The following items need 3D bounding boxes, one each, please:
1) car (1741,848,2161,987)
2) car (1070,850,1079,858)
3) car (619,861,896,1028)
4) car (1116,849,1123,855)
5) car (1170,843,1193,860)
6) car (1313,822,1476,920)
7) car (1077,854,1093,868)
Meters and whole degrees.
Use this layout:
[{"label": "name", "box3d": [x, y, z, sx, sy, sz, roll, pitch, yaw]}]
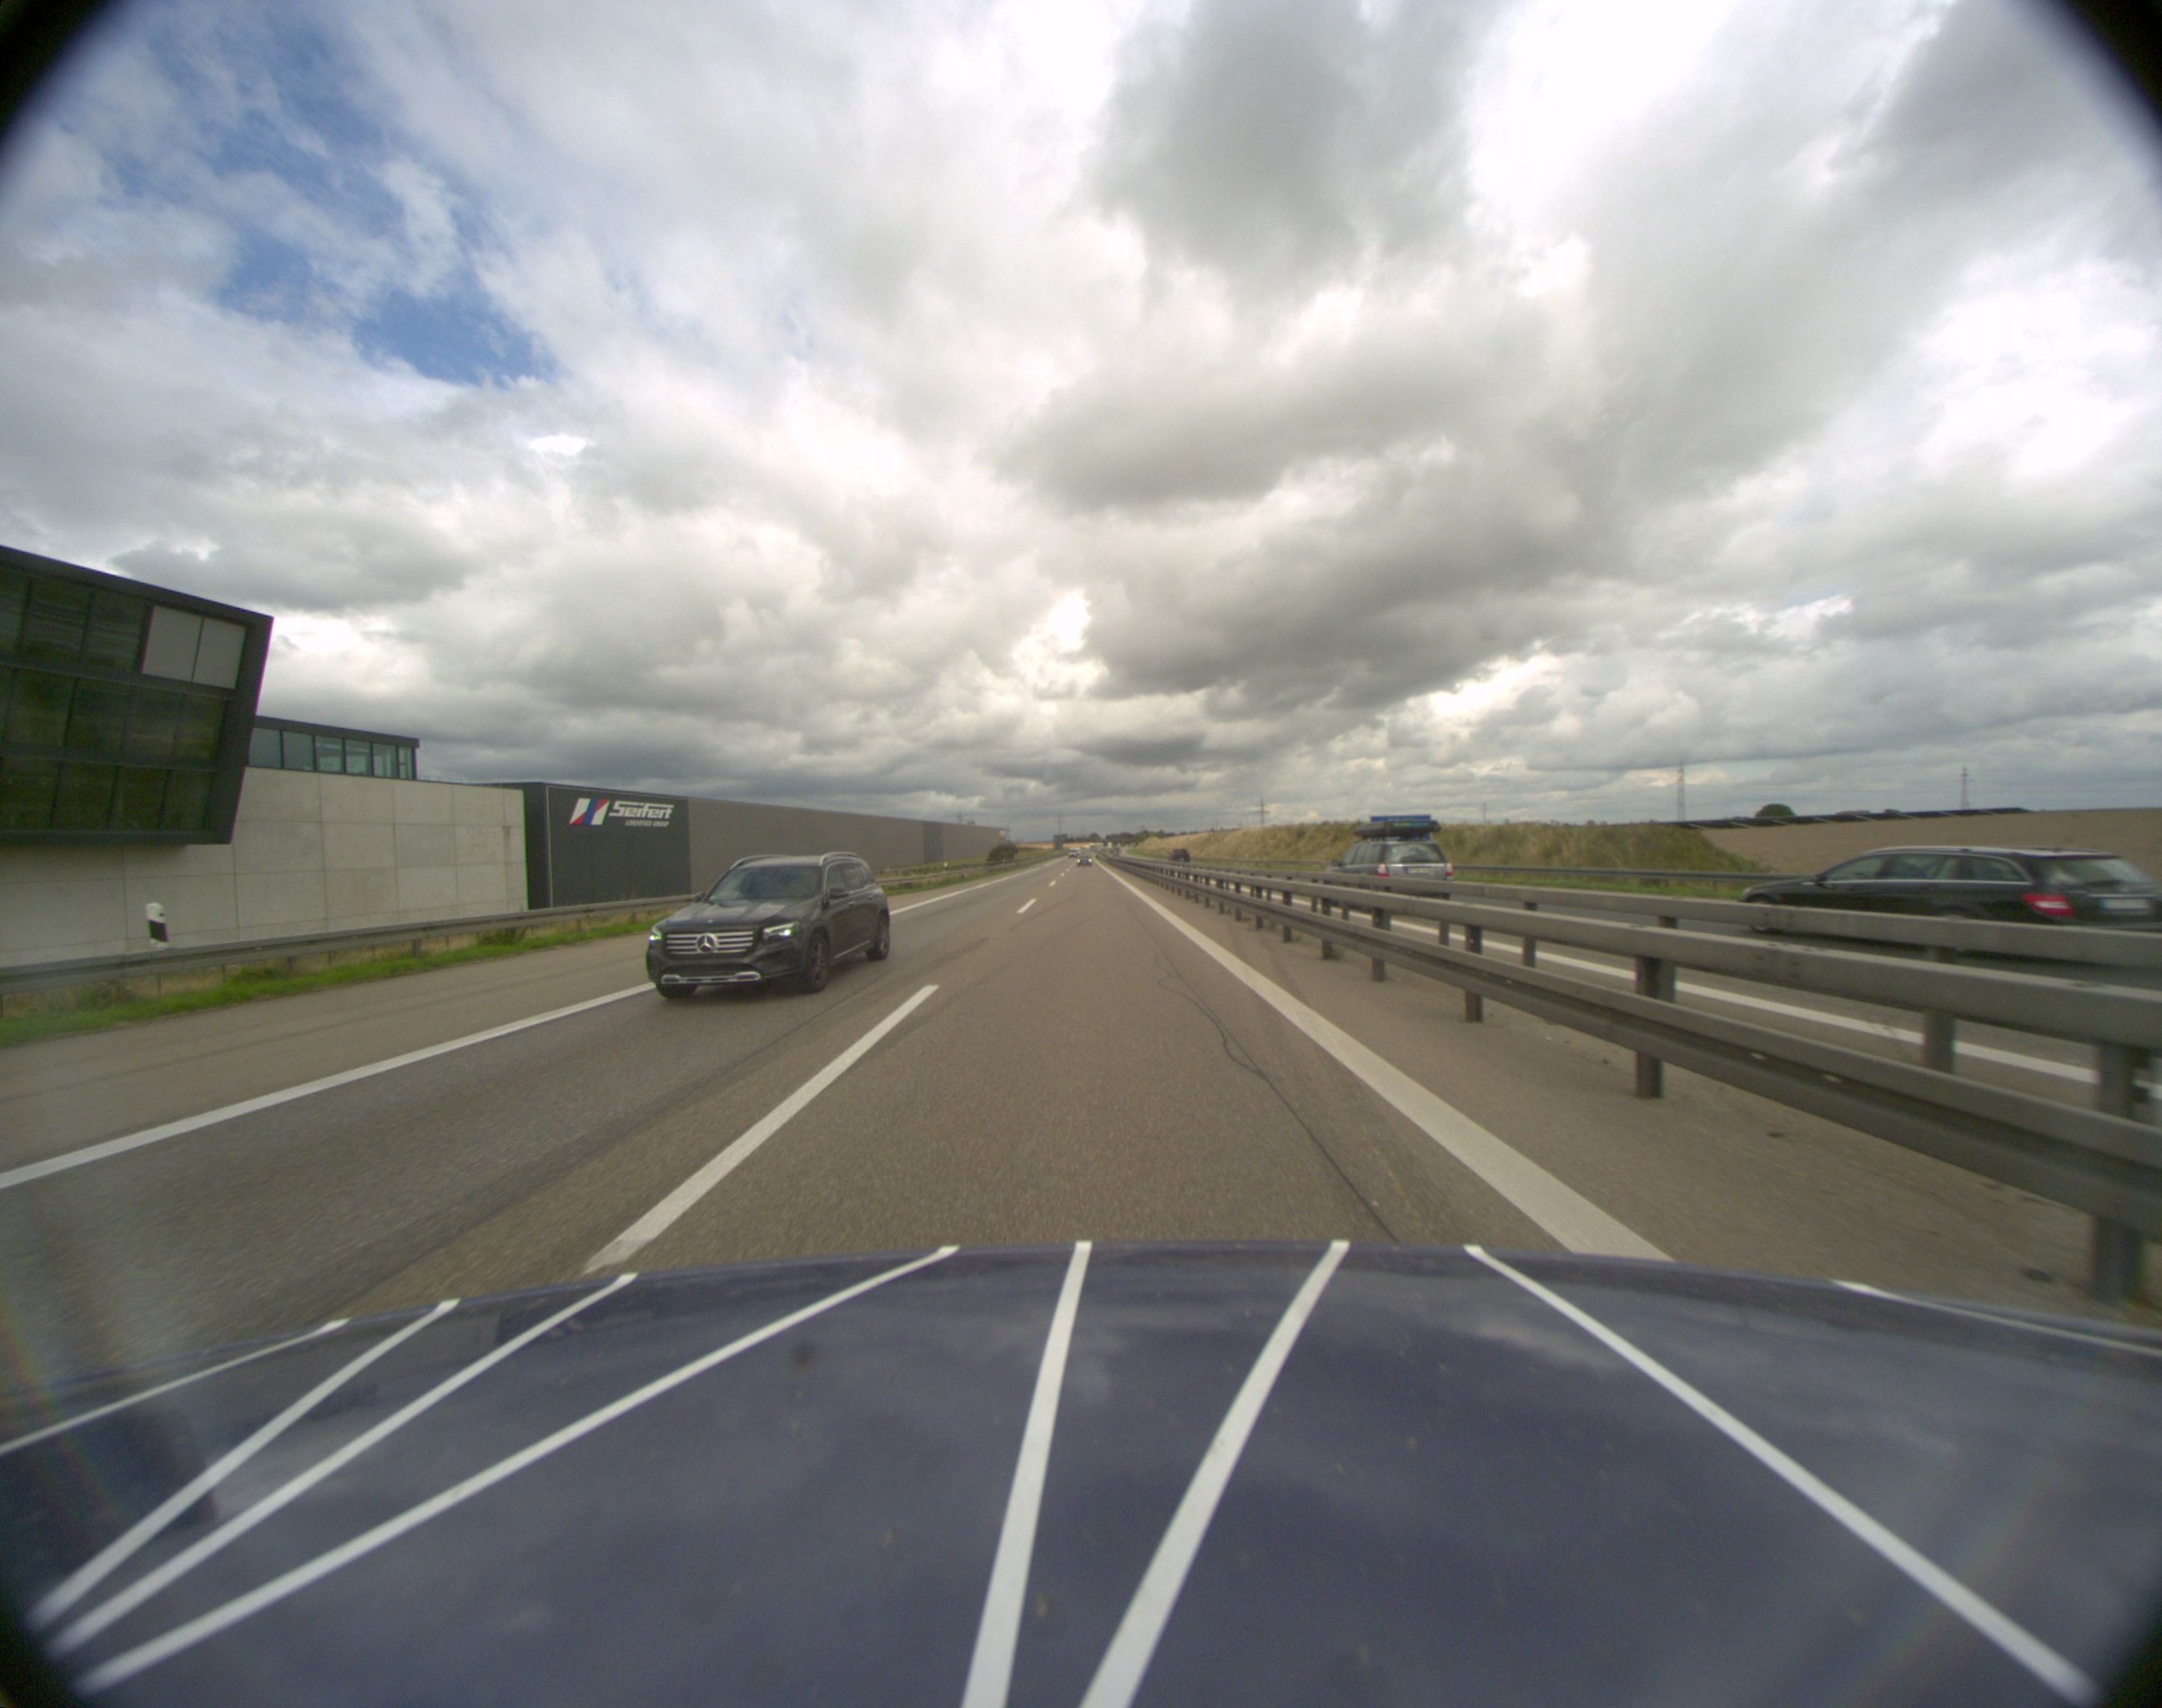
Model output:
[{"label": "car", "box3d": [12.058, 0.681, 10.567, 1.761, 1.459, 4.559, -2, 0, 0]}, {"label": "car", "box3d": [-1.637, -0.084, 194.482, 1.998, 2.002, 3.999, -1, 2, 1]}, {"label": "car", "box3d": [-3.933, 0.978, 10.190, 1.838, 1.600, 4.359, 0, 2, 0]}, {"label": "car", "box3d": [11.163, -0.520, 219.446, 1.911, 1.504, 4.728, -1, 1, 1]}, {"label": "car", "box3d": [12.275, -0.318, 93.160, 1.998, 2.002, 6.101, -1, 0, 0]}, {"label": "car", "box3d": [7.357, 0.353, 18.378, 1.999, 2.002, 4.383, -2, 0, -1]}, {"label": "car", "box3d": [0.522, 0.846, 95.984, 1.998, 1.696, 4.662, -3, 0, 1]}]
